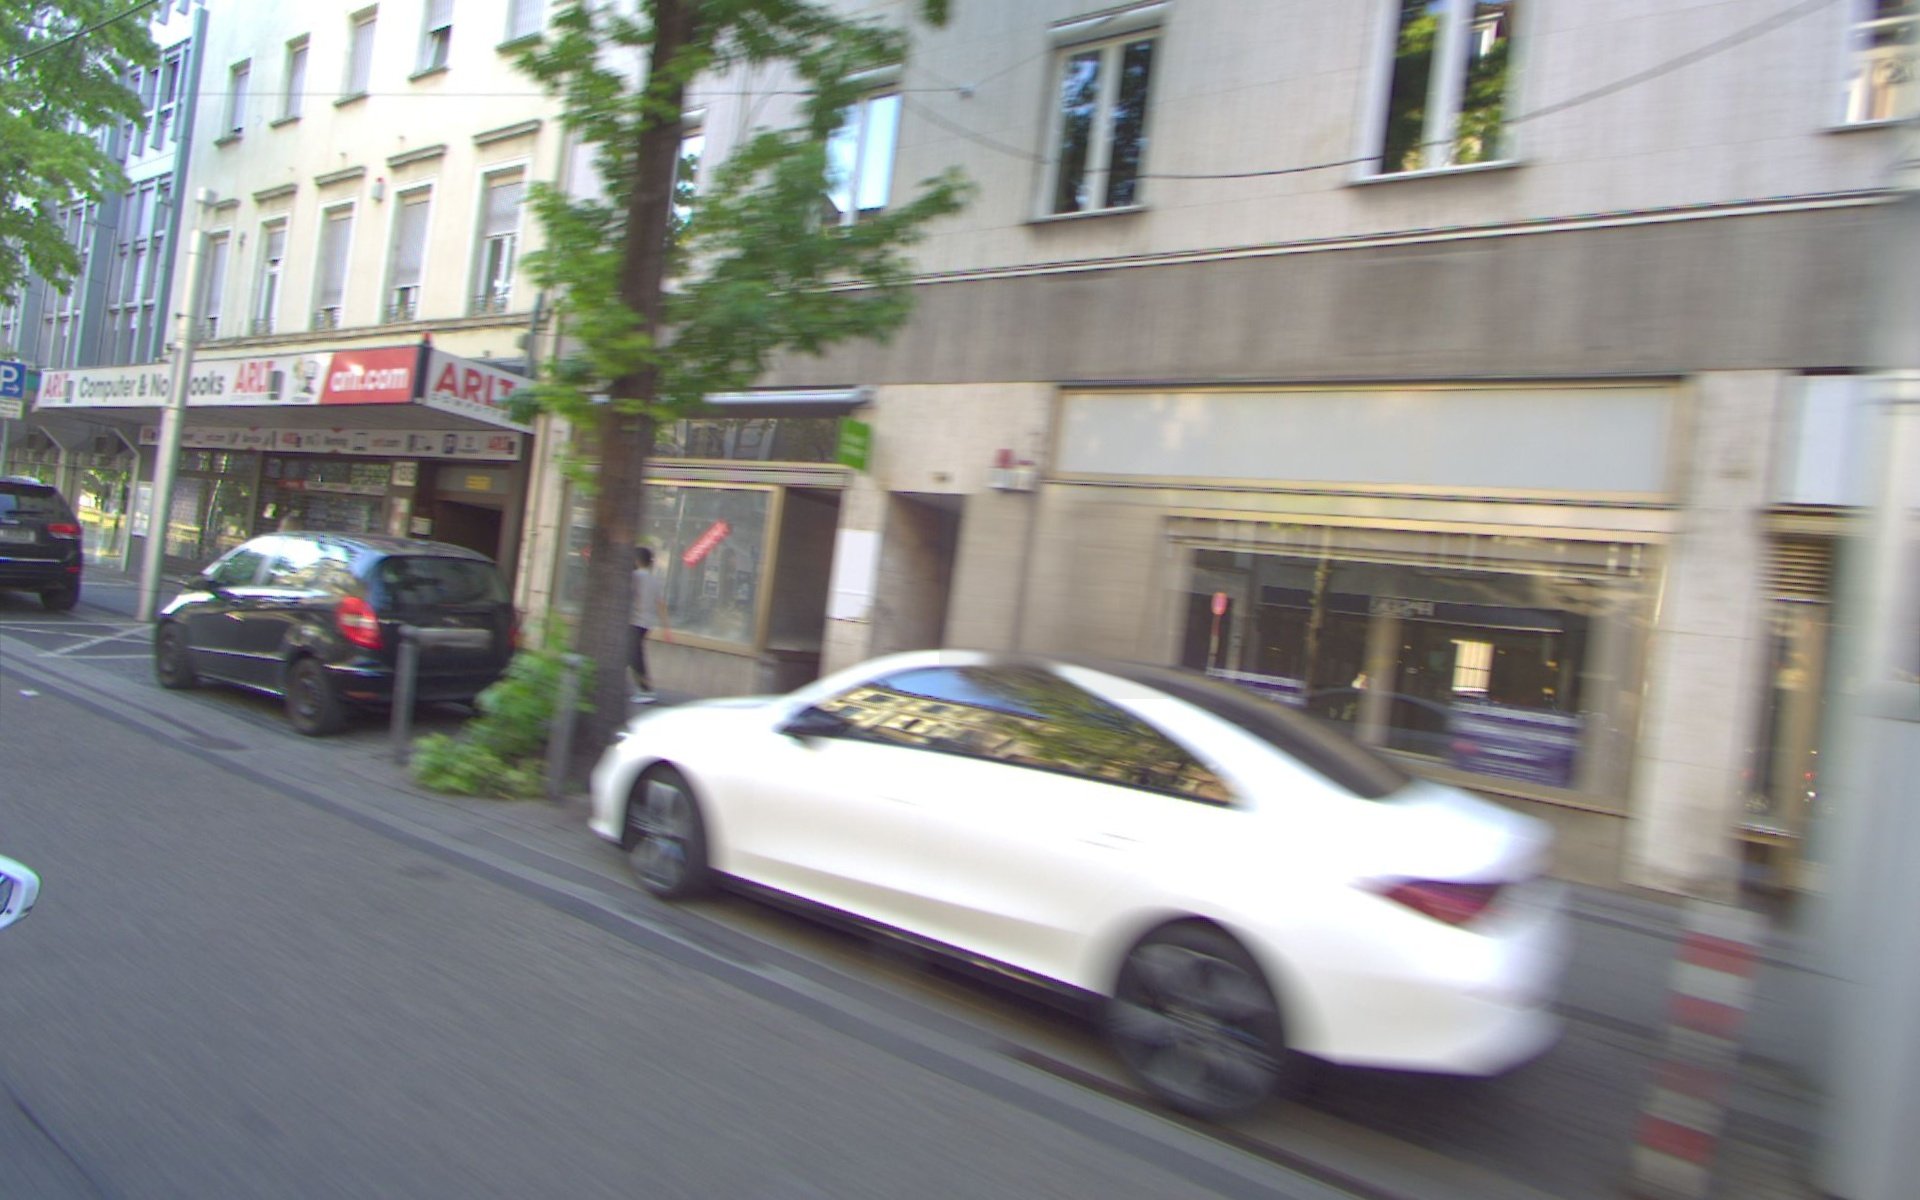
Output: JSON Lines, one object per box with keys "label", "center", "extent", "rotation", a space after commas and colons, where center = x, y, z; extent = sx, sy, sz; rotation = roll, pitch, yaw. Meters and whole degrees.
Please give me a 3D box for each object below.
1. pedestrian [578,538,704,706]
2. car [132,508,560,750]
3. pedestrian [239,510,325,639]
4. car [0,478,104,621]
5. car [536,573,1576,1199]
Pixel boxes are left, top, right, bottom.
{"label": "pedestrian", "center": [-3.648, 0.242, 11.523], "extent": [0.917, 1.776, 0.858], "rotation": [7, 3, 32]}
{"label": "car", "center": [-5.718, 0.157, 9.267], "extent": [3.827, 1.612, 1.776], "rotation": [7, 2, 32]}
{"label": "pedestrian", "center": [-9.415, -0.349, 13.975], "extent": [0.773, 1.692, 0.643], "rotation": [7, 3, 32]}
{"label": "car", "center": [-14.087, -0.866, 14.053], "extent": [4.602, 1.783, 1.938], "rotation": [7, 2, 32]}
{"label": "car", "center": [0.238, 0.885, 4.961], "extent": [4.603, 1.518, 1.993], "rotation": [7, 2, 33]}
